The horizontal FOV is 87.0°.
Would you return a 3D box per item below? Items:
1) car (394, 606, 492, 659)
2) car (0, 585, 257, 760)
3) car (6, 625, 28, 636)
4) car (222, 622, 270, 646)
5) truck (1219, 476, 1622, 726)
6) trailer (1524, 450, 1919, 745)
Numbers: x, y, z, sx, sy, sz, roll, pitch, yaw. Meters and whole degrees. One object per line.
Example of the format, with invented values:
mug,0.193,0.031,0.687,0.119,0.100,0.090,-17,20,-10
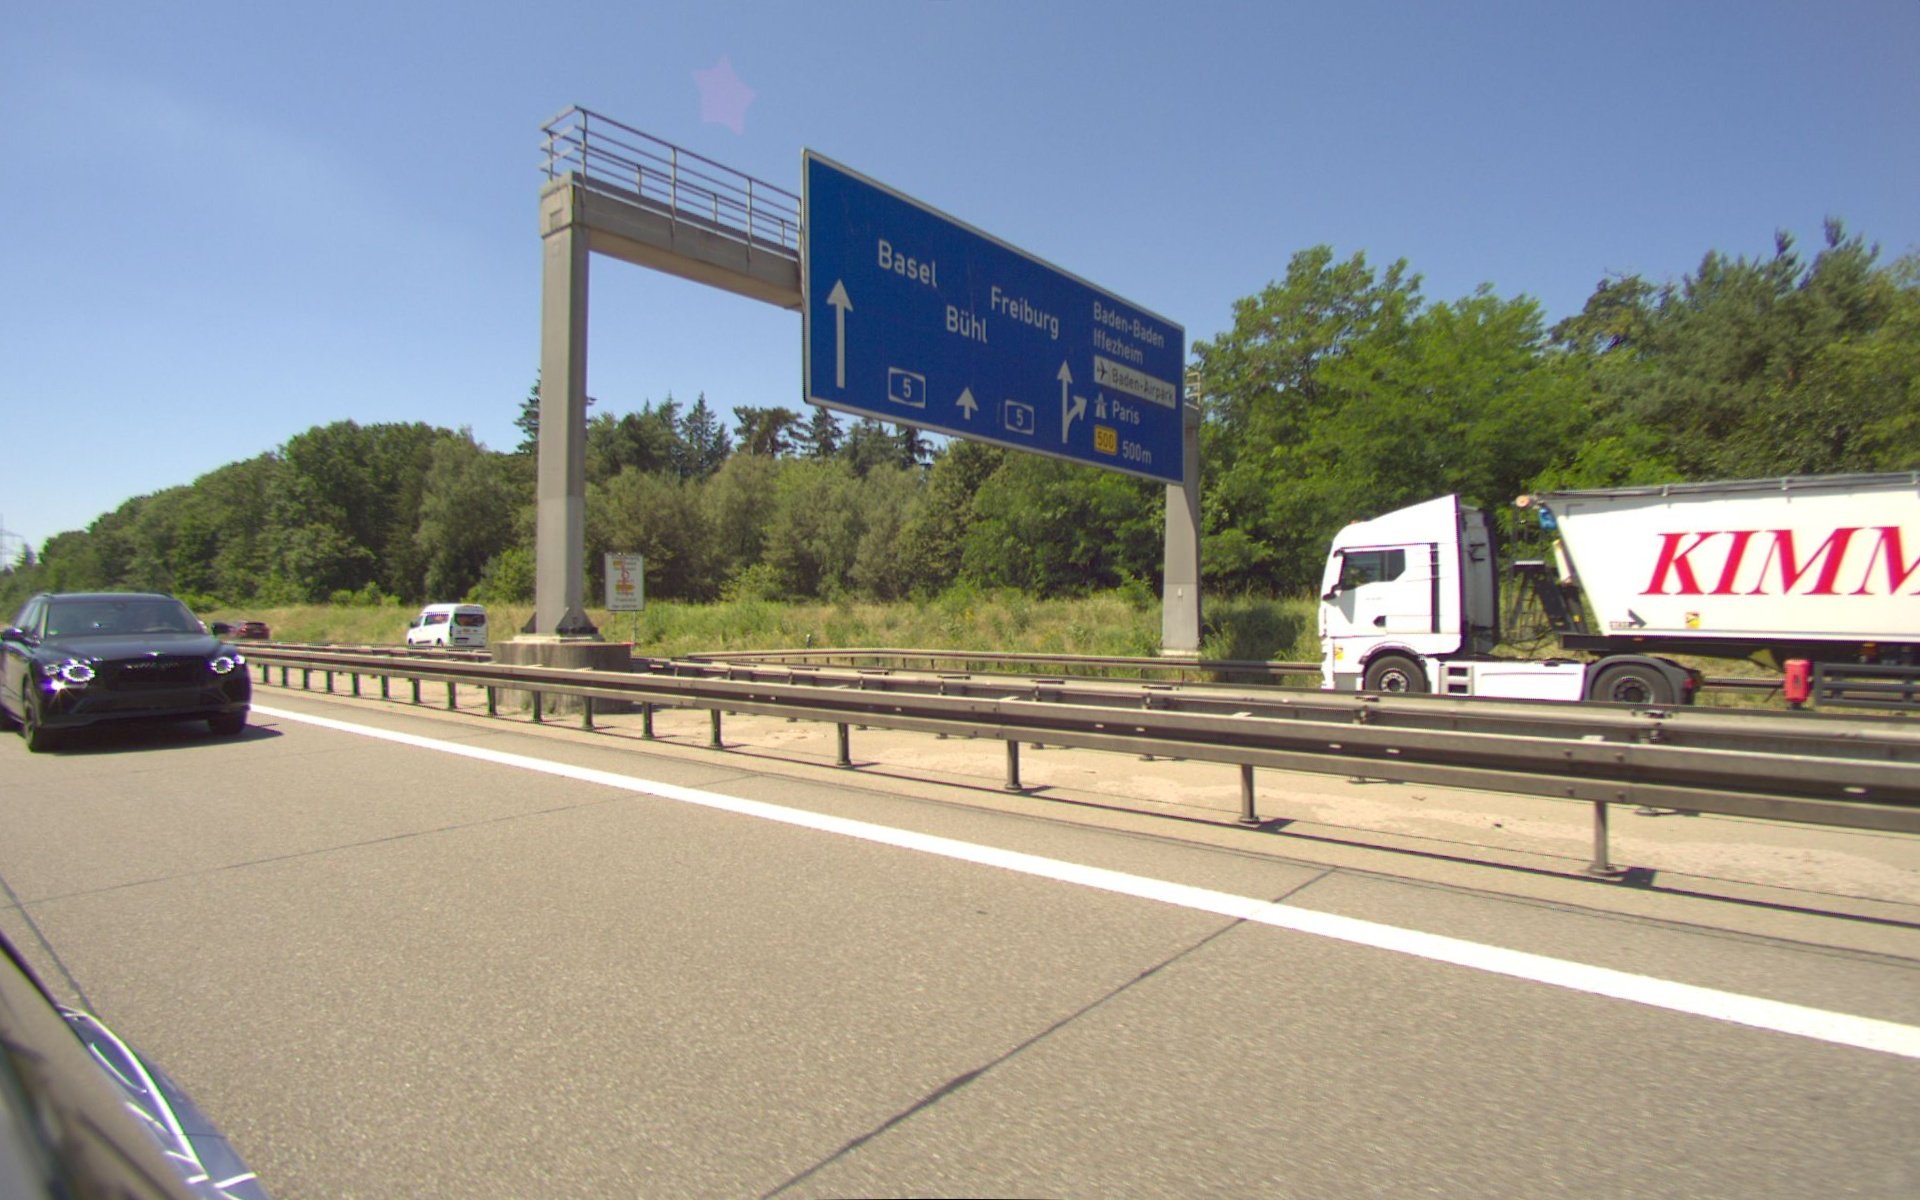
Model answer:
car,-24.514,1.539,47.876,5.805,2.358,1.967,-1,-4,40
car,-10.932,0.788,12.817,5.809,1.765,1.921,-2,-1,40
car,-134.373,4.306,144.200,4.594,1.420,1.654,-1,-4,40
car,-49.920,2.345,70.728,4.609,1.603,1.629,-1,-4,41
truck,8.500,0.121,19.194,6.479,3.979,2.598,-1,-4,41
trailer,14.386,0.013,14.082,11.151,3.979,2.598,-1,-4,41
